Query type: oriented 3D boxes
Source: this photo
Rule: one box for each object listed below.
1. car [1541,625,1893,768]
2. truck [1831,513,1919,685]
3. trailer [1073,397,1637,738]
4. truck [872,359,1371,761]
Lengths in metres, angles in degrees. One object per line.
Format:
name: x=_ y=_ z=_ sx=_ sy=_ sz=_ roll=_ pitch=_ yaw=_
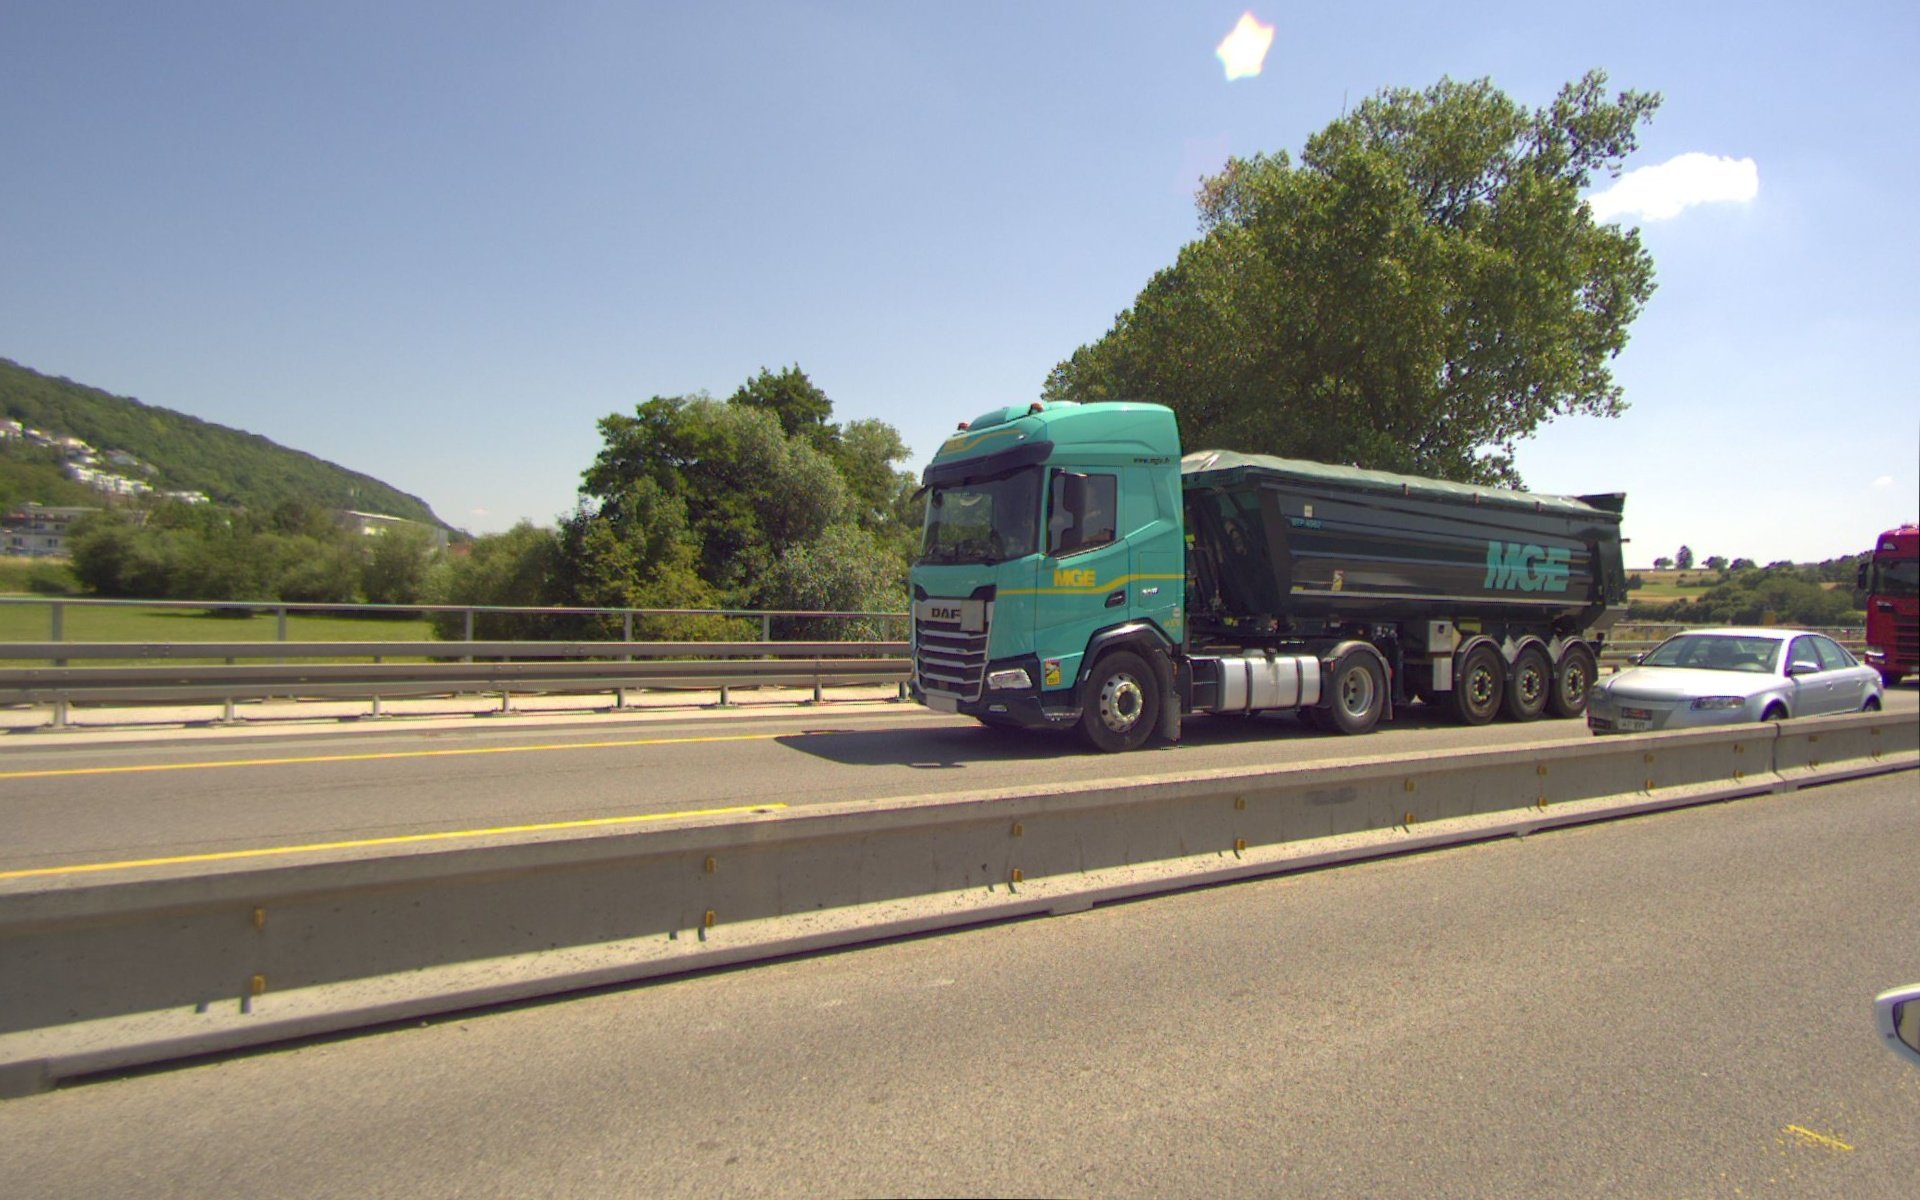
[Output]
car: x=8.996 y=1.011 z=11.829 sx=4.659 sy=1.398 sz=1.772 roll=1 pitch=-2 yaw=-32
truck: x=25.444 y=0.006 z=25.646 sx=6.443 sy=4.091 sz=2.803 roll=1 pitch=0 yaw=-29
trailer: x=6.022 y=-0.254 z=14.504 sx=8.856 sy=3.721 sz=2.779 roll=2 pitch=0 yaw=-32
truck: x=1.974 y=-0.325 z=12.000 sx=5.313 sy=3.771 sz=2.782 roll=1 pitch=0 yaw=-31
